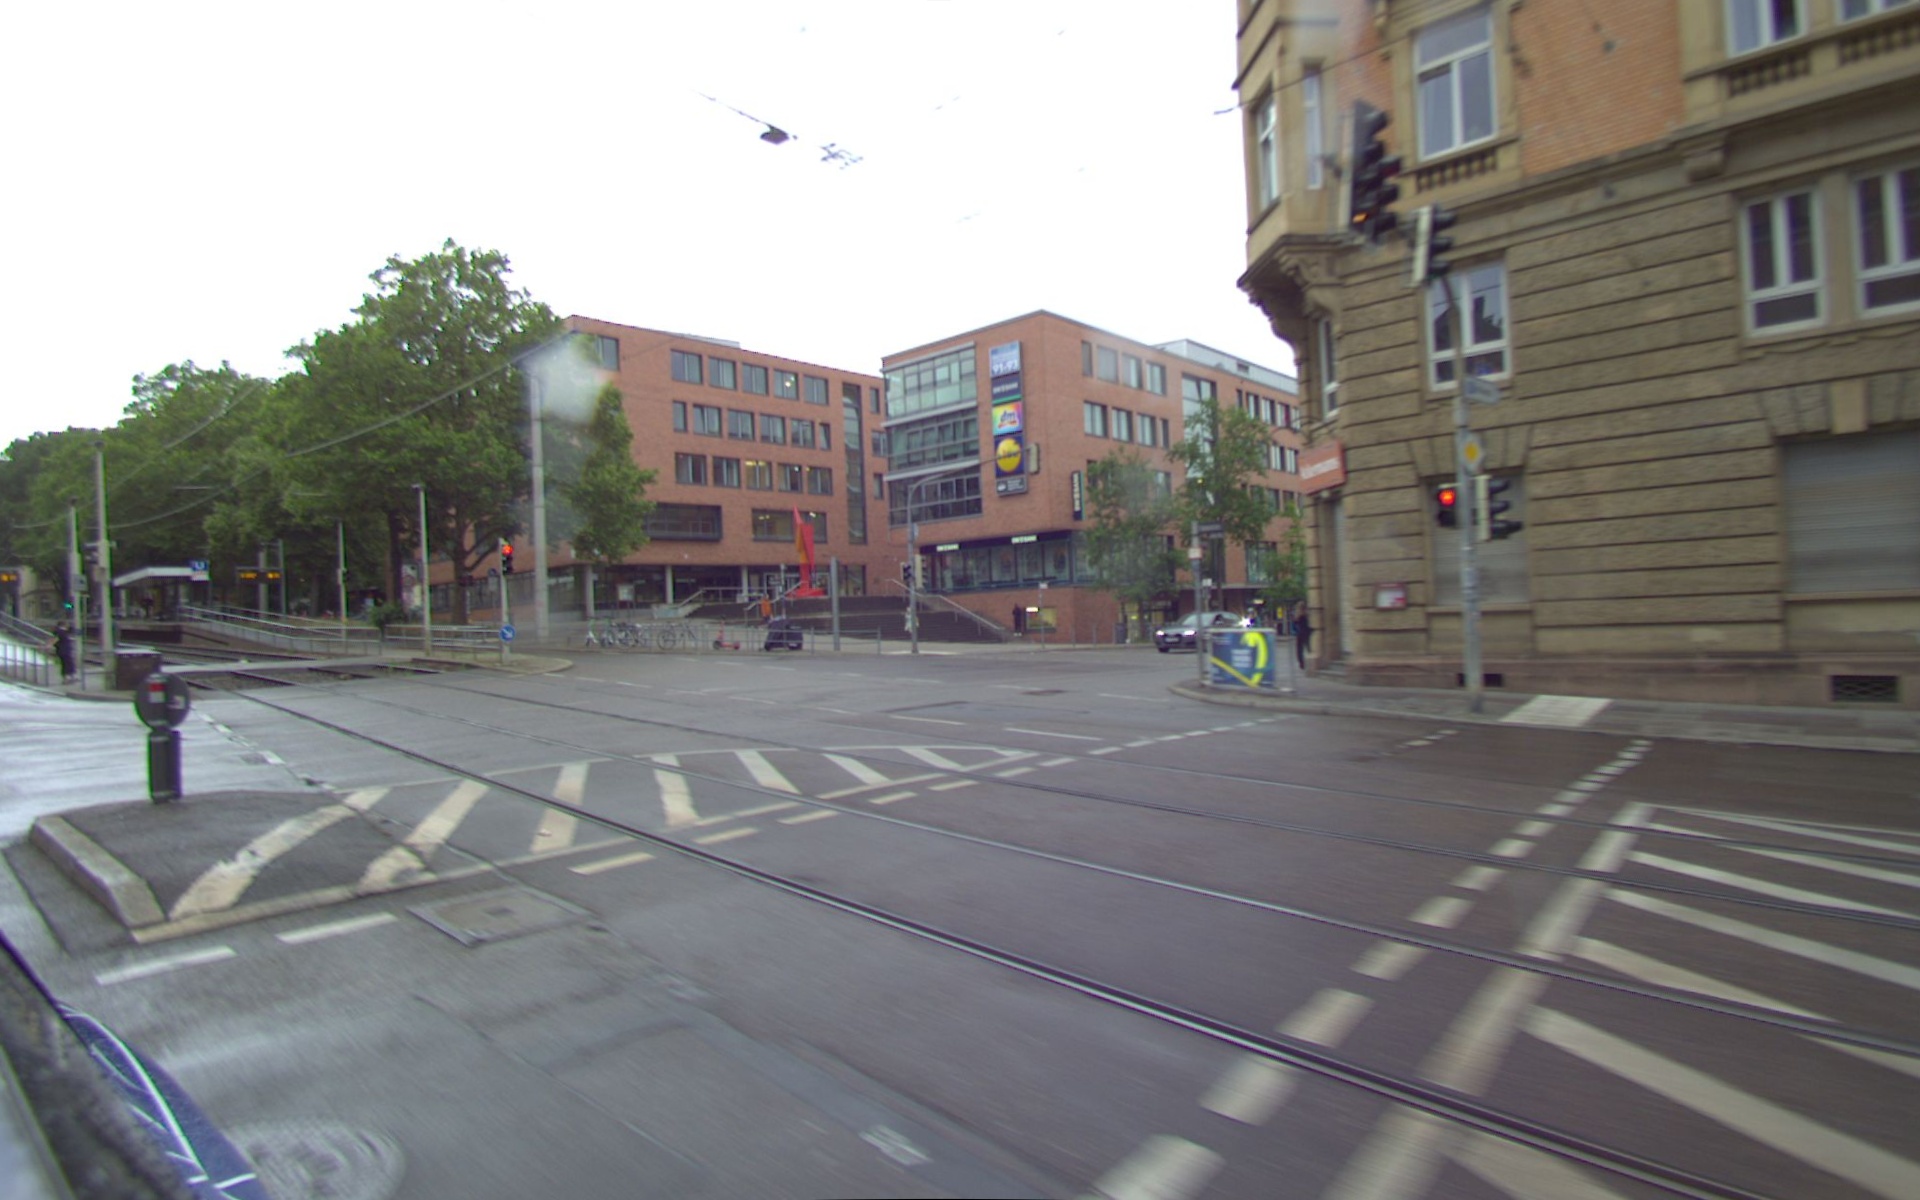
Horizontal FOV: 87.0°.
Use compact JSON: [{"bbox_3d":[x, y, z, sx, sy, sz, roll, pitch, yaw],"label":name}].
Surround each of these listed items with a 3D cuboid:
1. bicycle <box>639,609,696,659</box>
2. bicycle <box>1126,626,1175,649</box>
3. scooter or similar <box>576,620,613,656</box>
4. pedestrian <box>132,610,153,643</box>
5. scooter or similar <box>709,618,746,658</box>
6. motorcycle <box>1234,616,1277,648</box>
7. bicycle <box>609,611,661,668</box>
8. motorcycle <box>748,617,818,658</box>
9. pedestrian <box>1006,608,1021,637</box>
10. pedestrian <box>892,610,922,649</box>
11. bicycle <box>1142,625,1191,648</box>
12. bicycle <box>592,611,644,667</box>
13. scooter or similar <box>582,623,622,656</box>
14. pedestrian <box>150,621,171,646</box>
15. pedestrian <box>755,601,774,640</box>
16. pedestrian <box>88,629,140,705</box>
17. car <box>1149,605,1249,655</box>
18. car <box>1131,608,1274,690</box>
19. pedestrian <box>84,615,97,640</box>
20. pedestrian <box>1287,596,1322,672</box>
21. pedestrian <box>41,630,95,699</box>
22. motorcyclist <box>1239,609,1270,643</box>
[{"bbox_3d":[-10.623,1.212,36.782,0.555,1.710,2.073,0,1,34],"label":"bicycle"},{"bbox_3d":[9.654,1.916,51.350,2.361,1.109,0.692,-2,-1,34],"label":"bicycle"},{"bbox_3d":[-14.452,1.498,40.046,0.450,1.381,1.494,-2,-1,24],"label":"scooter or similar"},{"bbox_3d":[-51.855,1.701,64.192,0.883,2.078,0.827,-2,-1,37],"label":"pedestrian"},{"bbox_3d":[-8.325,1.345,36.267,0.450,1.381,1.494,-2,-1,24],"label":"scooter or similar"},{"bbox_3d":[11.557,1.248,39.510,0.866,1.168,1.826,-2,-1,42],"label":"motorcycle"},{"bbox_3d":[-12.191,1.447,37.978,0.517,2.029,1.874,-2,0,34],"label":"bicycle"},{"bbox_3d":[-6.250,1.301,35.917,0.864,1.381,2.628,-1,-1,35],"label":"motorcycle"},{"bbox_3d":[2.940,1.251,55.420,0.591,1.578,0.513,-2,-1,40],"label":"pedestrian"},{"bbox_3d":[-2.378,1.317,45.522,1.008,1.743,0.887,-2,-1,41],"label":"pedestrian"},{"bbox_3d":[10.575,1.884,51.858,2.368,1.109,0.840,-2,-1,45],"label":"bicycle"},{"bbox_3d":[-13.016,1.473,38.537,0.517,2.029,1.874,-2,0,34],"label":"bicycle"},{"bbox_3d":[-13.981,1.530,39.552,0.475,1.203,1.707,-2,-1,20],"label":"scooter or similar"},{"bbox_3d":[-48.167,2.018,60.981,0.883,1.494,0.772,-2,-1,37],"label":"pedestrian"},{"bbox_3d":[-9.096,0.947,47.097,0.779,1.757,1.072,-1,3,-15],"label":"pedestrian"},{"bbox_3d":[-21.033,1.641,25.171,1.000,1.812,0.817,-2,-1,39],"label":"pedestrian"},{"bbox_3d":[8.473,1.053,35.669,1.840,1.678,3.946,-2,-2,40],"label":"car"},{"bbox_3d":[5.272,0.977,21.666,1.773,1.550,3.754,-2,-1,34],"label":"car"},{"bbox_3d":[-63.665,1.991,74.102,0.703,1.804,0.668,-2,-2,42],"label":"pedestrian"},{"bbox_3d":[8.428,0.835,24.755,0.634,1.781,0.624,-5,-4,16],"label":"pedestrian"},{"bbox_3d":[-21.709,1.548,24.632,1.000,1.617,0.826,-2,-1,39],"label":"pedestrian"},{"bbox_3d":[11.477,1.005,39.455,0.841,1.313,0.803,-2,-1,42],"label":"motorcyclist"}]
